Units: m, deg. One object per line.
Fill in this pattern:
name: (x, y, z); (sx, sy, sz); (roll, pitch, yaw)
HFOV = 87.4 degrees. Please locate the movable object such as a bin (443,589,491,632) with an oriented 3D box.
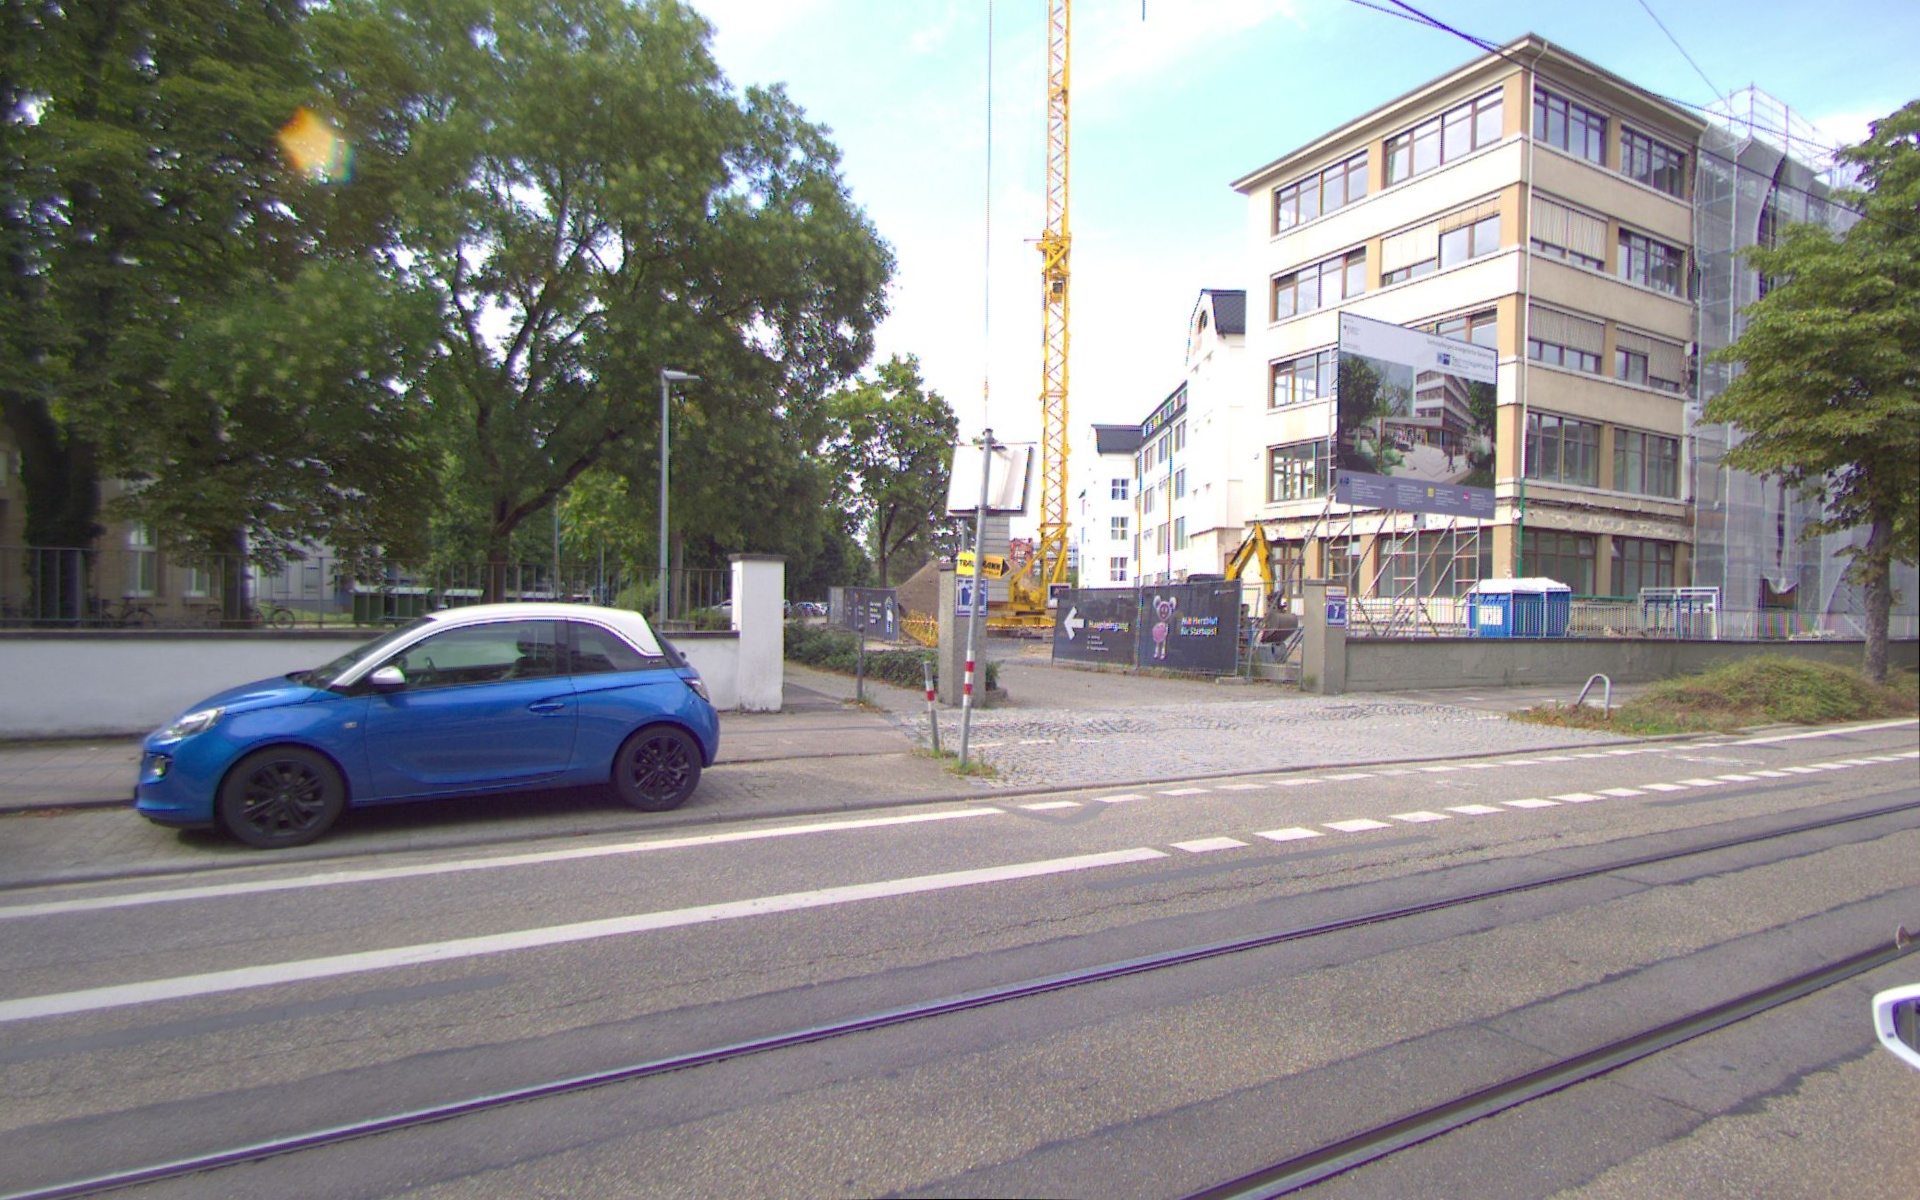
movable object such as a bin: (-16.442, 0.354, 33.514); (1.180, 1.393, 0.861); (1, 1, -3)

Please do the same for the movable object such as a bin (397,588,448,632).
movable object such as a bin: (-17.862, 0.322, 33.388); (1.180, 1.393, 0.970); (1, 1, -3)

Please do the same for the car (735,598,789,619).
car: (-14.914, 0.652, 75.879); (3.927, 1.518, 1.911); (1, 0, -9)

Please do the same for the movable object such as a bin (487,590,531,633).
movable object such as a bin: (-15.020, 0.387, 33.464); (1.073, 1.393, 0.861); (1, 1, -3)

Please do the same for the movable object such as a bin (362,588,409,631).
movable object such as a bin: (-19.084, 0.294, 33.388); (1.001, 1.393, 0.970); (1, 1, -3)

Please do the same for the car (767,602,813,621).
car: (-14.996, 0.996, 88.547); (3.927, 1.518, 1.911); (1, 0, -9)

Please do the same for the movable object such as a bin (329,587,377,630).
movable object such as a bin: (-20.153, 0.269, 33.354); (1.001, 1.393, 0.970); (1, 1, -3)

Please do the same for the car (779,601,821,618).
car: (-15.095, 0.915, 94.918); (3.927, 1.518, 1.911); (1, 0, -9)

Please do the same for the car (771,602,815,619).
car: (-15.296, 0.948, 92.252); (3.927, 1.518, 1.911); (1, 0, -9)

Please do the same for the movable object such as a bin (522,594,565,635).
movable object such as a bin: (-13.786, 0.470, 33.242); (1.073, 1.290, 0.861); (1, 1, -3)

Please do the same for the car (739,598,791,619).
car: (-15.305, 0.649, 79.165); (3.927, 1.518, 1.911); (1, 0, -9)

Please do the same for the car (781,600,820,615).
car: (-16.567, 0.769, 104.282); (3.927, 1.518, 1.911); (1, 0, -9)

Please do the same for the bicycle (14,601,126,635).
bicycle: (-22.150, 0.442, 25.031); (2.010, 0.783, 0.713); (1, 1, -10)

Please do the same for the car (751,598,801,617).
car: (-15.070, 0.618, 82.307); (3.927, 1.518, 1.911); (1, 0, -9)

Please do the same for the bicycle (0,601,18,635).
bicycle: (-21.884, 0.377, 21.821); (2.010, 0.718, 0.713); (1, 1, -10)

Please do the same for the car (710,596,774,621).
car: (-13.963, 0.565, 64.509); (3.927, 1.518, 1.911); (1, 0, -9)

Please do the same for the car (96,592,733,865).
car: (-3.679, 0.750, 7.283); (3.634, 1.507, 1.685); (1, 1, -30)

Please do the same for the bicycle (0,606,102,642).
bicycle: (-21.962, 0.572, 24.091); (2.010, 0.783, 0.713); (1, 1, -10)

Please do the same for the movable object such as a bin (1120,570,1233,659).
movable object such as a bin: (5.396, 0.354, 25.156); (1.935, 2.095, 1.979); (1, 0, -27)

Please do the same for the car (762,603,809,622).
car: (-14.866, 1.030, 85.743); (3.927, 1.518, 1.911); (1, 0, -9)

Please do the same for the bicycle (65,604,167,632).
bicycle: (-22.468, 0.478, 26.780); (2.028, 0.718, 0.707); (1, 1, -37)

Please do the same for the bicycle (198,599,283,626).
bicycle: (-22.179, 0.374, 31.011); (2.010, 0.783, 0.713); (1, 1, -10)

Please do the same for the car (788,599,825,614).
car: (-16.547, 0.728, 108.400); (3.927, 1.518, 1.911); (1, 0, -9)
